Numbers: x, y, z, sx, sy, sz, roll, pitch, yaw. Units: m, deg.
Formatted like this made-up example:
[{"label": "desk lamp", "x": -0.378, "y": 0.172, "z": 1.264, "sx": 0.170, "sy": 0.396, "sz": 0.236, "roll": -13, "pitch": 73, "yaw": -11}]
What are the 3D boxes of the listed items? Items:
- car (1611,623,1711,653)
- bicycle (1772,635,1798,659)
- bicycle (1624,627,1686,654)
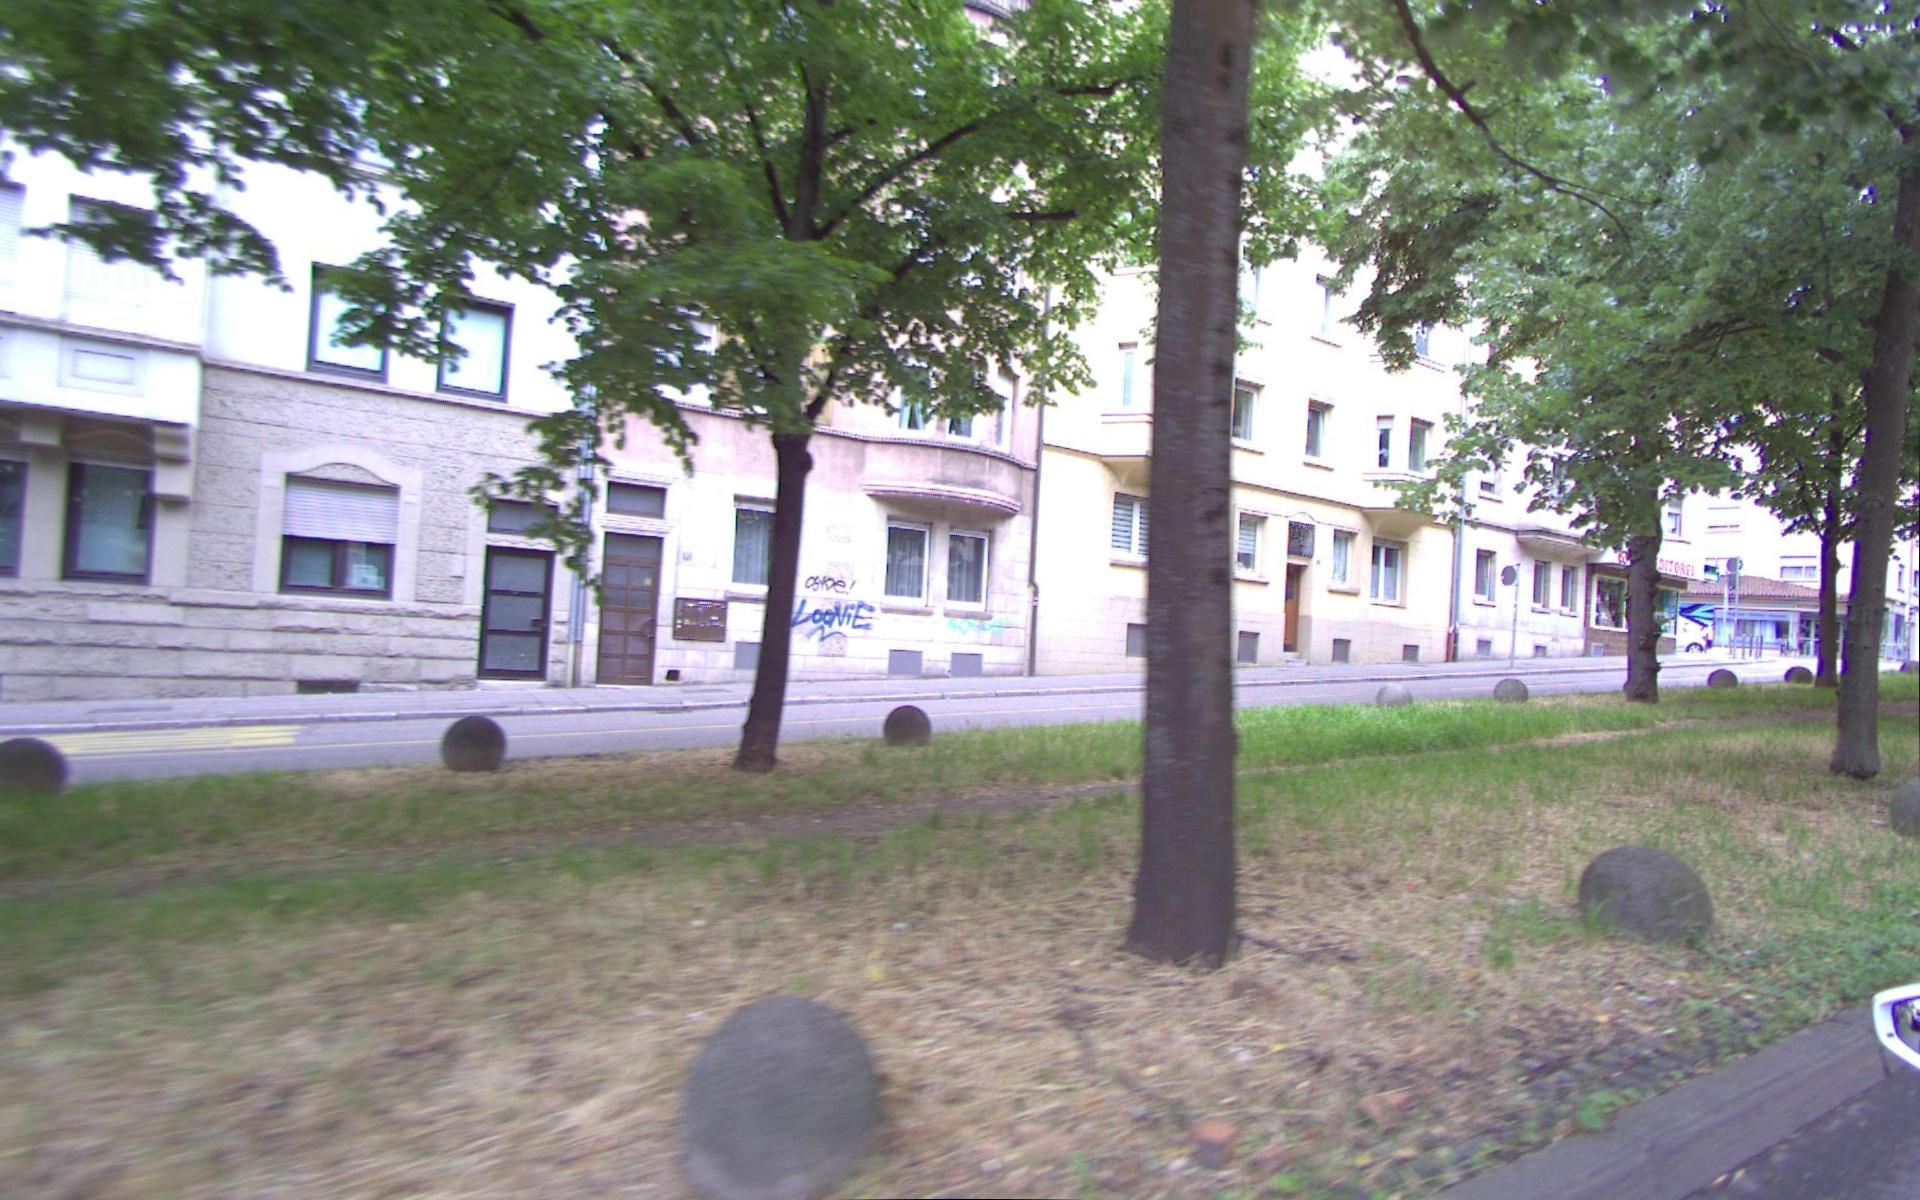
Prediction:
[{"label": "car", "x": 36.697, "y": 2.011, "z": 52.672, "sx": 3.964, "sy": 1.498, "sz": 1.821, "roll": -1, "pitch": -3, "yaw": 24}, {"label": "bicycle", "x": 41.421, "y": 2.371, "z": 50.442, "sx": 0.751, "sy": 1.099, "sz": 2.031, "roll": 4, "pitch": 0, "yaw": 34}, {"label": "bicycle", "x": 31.177, "y": 1.806, "z": 45.109, "sx": 0.852, "sy": 1.060, "sz": 2.457, "roll": 3, "pitch": 1, "yaw": -7}]
